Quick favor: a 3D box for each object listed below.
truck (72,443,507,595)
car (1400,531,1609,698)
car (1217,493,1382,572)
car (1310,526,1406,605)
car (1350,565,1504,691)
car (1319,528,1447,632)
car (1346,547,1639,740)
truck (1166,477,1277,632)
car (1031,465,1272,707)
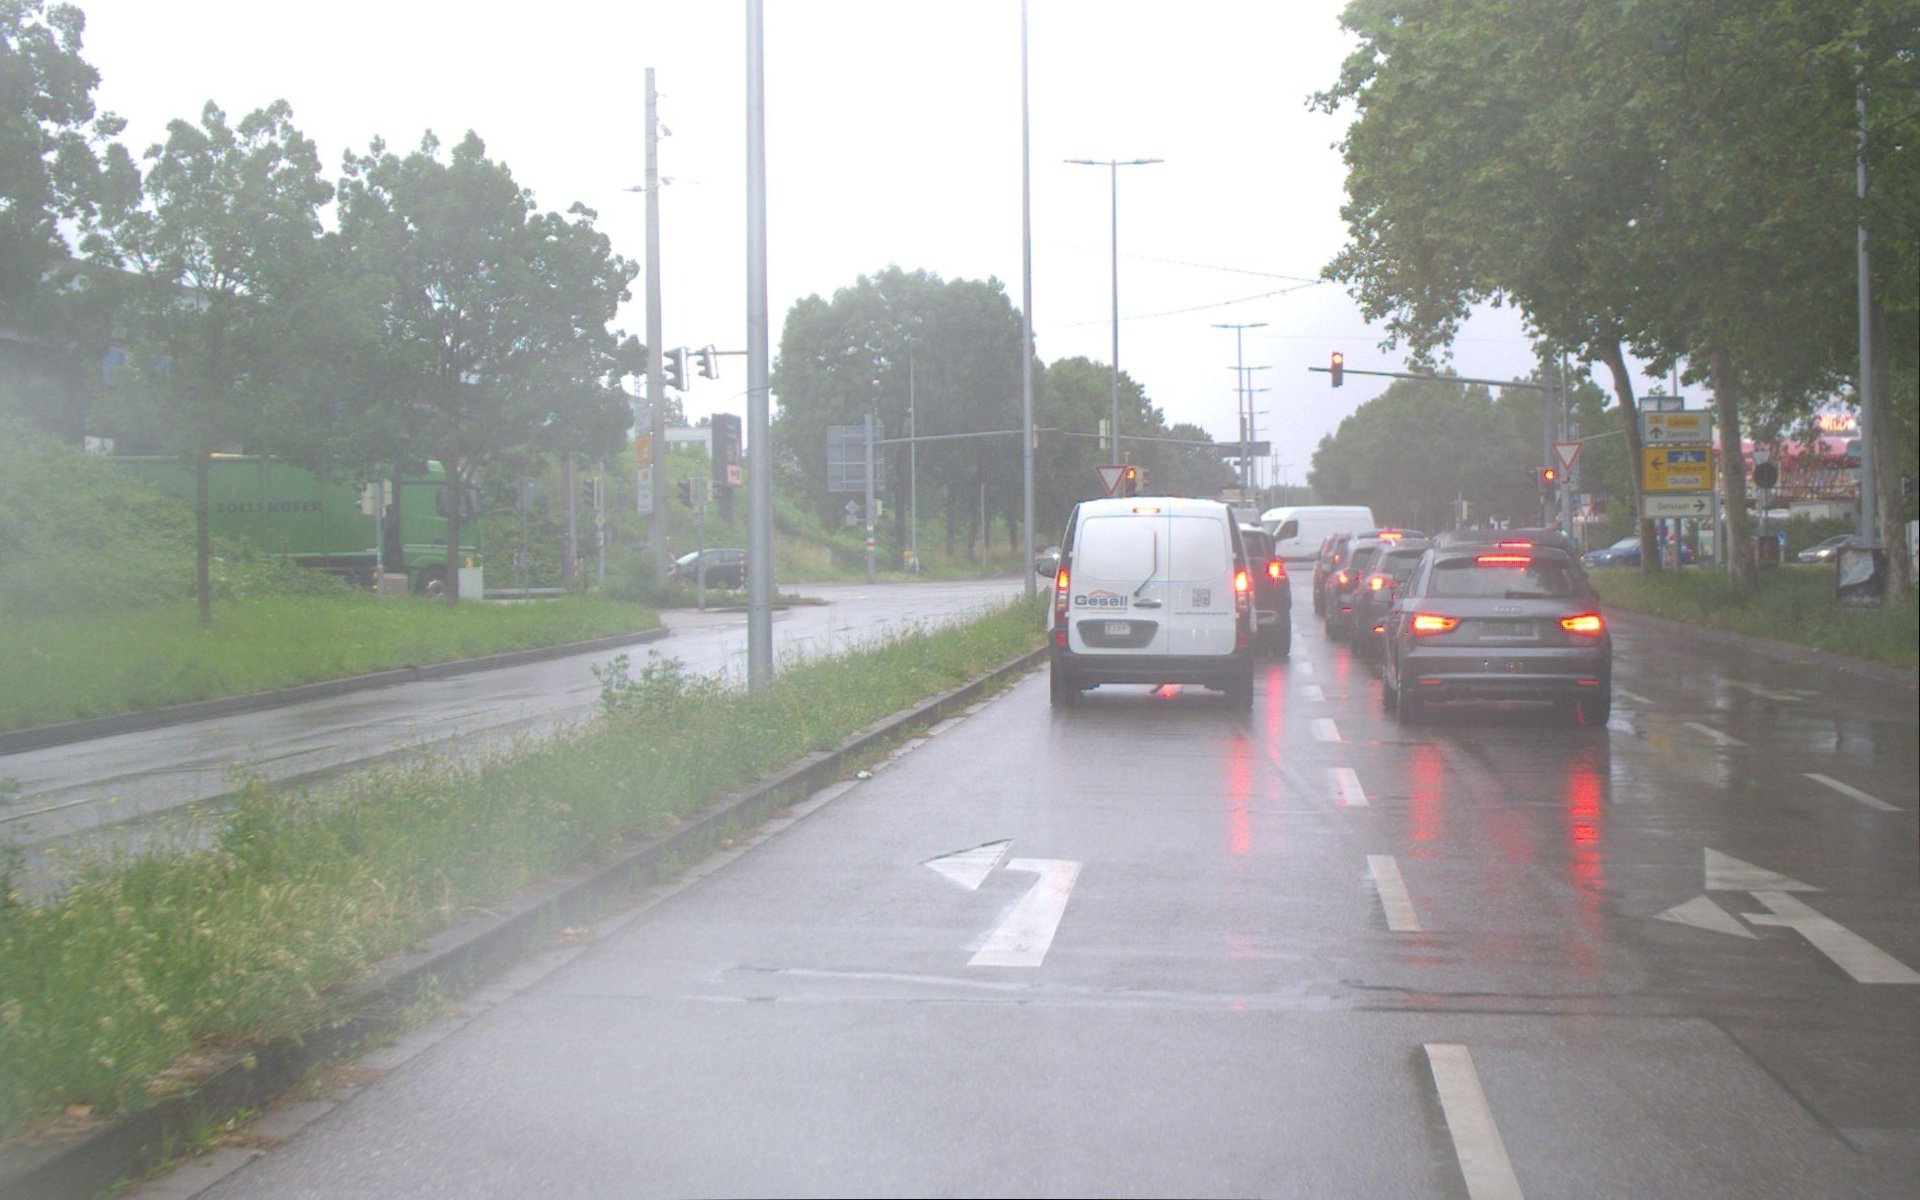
[{"bbox_3d":[-16.260,-1.893,83.884,10.108,3.440,2.658,1,-1,-31],"label":"truck"},{"bbox_3d":[5.455,0.102,34.840,1.708,1.544,4.000,0,2,4],"label":"car"},{"bbox_3d":[12.425,-2.445,125.679,6.000,2.734,2.000,1,-1,-31],"label":"car"},{"bbox_3d":[7.522,-0.671,65.258,1.712,1.440,4.000,0,1,5],"label":"car"},{"bbox_3d":[5.759,0.314,42.694,1.712,1.440,4.000,0,1,5],"label":"car"},{"bbox_3d":[6.128,-0.320,50.096,1.712,1.440,4.000,0,1,5],"label":"car"},{"bbox_3d":[4.280,0.303,28.187,1.994,1.447,4.000,1,1,3],"label":"car"},{"bbox_3d":[4.288,-0.747,56.707,1.757,2.458,4.000,0,1,4],"label":"truck"},{"bbox_3d":[1.718,-0.107,30.672,1.994,2.007,3.999,0,0,4],"label":"car"}]
